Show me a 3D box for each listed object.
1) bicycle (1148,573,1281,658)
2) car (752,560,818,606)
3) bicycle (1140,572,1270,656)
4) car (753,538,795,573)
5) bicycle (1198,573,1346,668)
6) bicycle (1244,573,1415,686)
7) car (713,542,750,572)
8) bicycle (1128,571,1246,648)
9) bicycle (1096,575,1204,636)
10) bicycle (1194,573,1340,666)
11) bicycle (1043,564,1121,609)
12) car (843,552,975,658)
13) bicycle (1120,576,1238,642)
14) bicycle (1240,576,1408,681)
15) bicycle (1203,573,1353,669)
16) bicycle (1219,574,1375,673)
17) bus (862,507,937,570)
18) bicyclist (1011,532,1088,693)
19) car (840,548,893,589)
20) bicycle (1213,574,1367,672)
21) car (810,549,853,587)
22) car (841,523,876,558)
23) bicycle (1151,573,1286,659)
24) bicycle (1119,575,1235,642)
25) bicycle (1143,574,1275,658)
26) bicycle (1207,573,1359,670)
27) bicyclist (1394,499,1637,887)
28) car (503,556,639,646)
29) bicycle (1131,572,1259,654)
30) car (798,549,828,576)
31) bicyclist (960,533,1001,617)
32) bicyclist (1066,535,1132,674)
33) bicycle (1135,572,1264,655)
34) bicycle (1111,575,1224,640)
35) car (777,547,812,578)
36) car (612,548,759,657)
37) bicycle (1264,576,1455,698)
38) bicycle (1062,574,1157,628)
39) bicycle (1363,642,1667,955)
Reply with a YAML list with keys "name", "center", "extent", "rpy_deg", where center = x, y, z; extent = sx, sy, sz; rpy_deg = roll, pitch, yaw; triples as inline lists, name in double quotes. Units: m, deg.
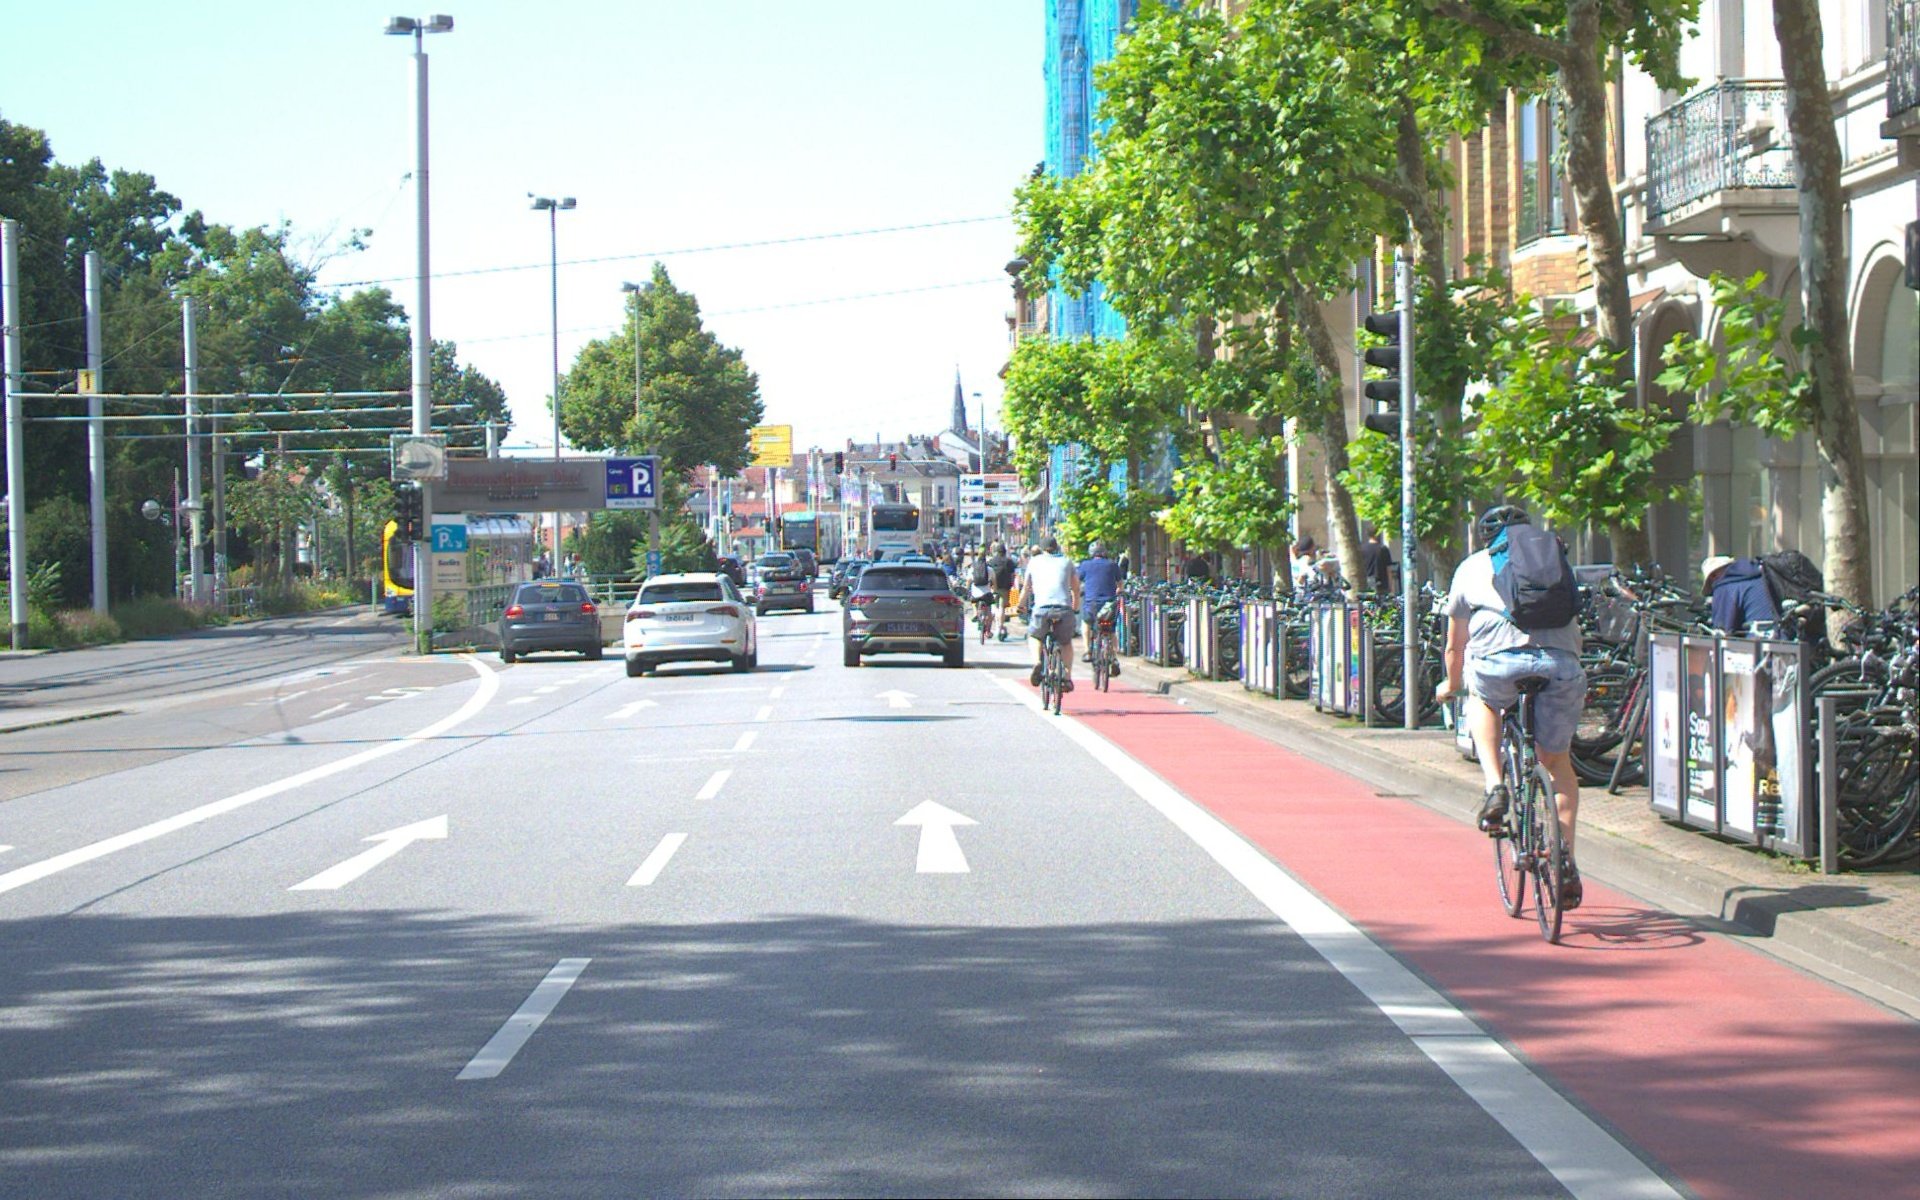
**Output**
- name: "bicycle"
  center: [3.457, 0.206, 46.816]
  extent: [1.752, 1.143, 0.483]
  rpy_deg: [0, 0, -3]
- name: "car"
  center: [-5.316, -0.521, 104.794]
  extent: [1.815, 1.328, 4.000]
  rpy_deg: [1, 1, -1]
- name: "bicycle"
  center: [3.401, 0.195, 47.804]
  extent: [1.752, 1.143, 0.483]
  rpy_deg: [0, 0, -3]
- name: "car"
  center: [-7.218, -1.725, 133.640]
  extent: [1.451, 1.296, 4.000]
  rpy_deg: [1, 1, -1]
- name: "bicycle"
  center: [3.837, 0.248, 42.327]
  extent: [1.752, 1.143, 0.483]
  rpy_deg: [0, 0, -3]
- name: "bicycle"
  center: [3.950, 0.313, 36.782]
  extent: [1.752, 1.183, 0.483]
  rpy_deg: [0, 0, -3]
- name: "car"
  center: [-10.381, -1.957, 156.497]
  extent: [1.451, 1.296, 4.000]
  rpy_deg: [1, 1, -1]
- name: "bicycle"
  center: [3.452, 0.141, 52.316]
  extent: [1.752, 1.143, 0.483]
  rpy_deg: [0, 0, -3]
- name: "bicycle"
  center: [3.173, 0.090, 57.460]
  extent: [1.752, 1.014, 0.483]
  rpy_deg: [0, 0, -3]
- name: "bicycle"
  center: [3.826, 0.242, 42.832]
  extent: [1.752, 1.143, 0.483]
  rpy_deg: [0, 0, -3]
- name: "bicycle"
  center: [2.821, -0.308, 79.432]
  extent: [1.752, 1.014, 0.483]
  rpy_deg: [0, 0, -3]
- name: "car"
  center: [-0.765, 0.047, 51.496]
  extent: [1.873, 1.487, 4.000]
  rpy_deg: [1, 1, -1]
- name: "bicycle"
  center: [3.375, 0.136, 53.014]
  extent: [1.752, 1.014, 0.483]
  rpy_deg: [0, 0, -3]
- name: "bicycle"
  center: [3.950, 0.307, 37.335]
  extent: [1.752, 1.119, 0.483]
  rpy_deg: [0, 0, -3]
- name: "bicycle"
  center: [3.867, 0.254, 41.822]
  extent: [1.752, 1.143, 0.483]
  rpy_deg: [0, 0, -3]
- name: "bicycle"
  center: [3.940, 0.271, 40.203]
  extent: [1.752, 1.143, 0.499]
  rpy_deg: [0, 0, -3]
- name: "bus"
  center: [-2.850, -2.838, 159.889]
  extent: [2.968, 2.767, 8.643]
  rpy_deg: [1, 1, -4]
- name: "bicyclist"
  center: [0.894, 0.116, 34.462]
  extent: [0.688, 1.571, 1.049]
  rpy_deg: [1, 0, -1]
- name: "car"
  center: [-3.037, -1.030, 111.461]
  extent: [1.451, 1.296, 3.342]
  rpy_deg: [1, 1, -6]
- name: "bicycle"
  center: [3.911, 0.264, 40.774]
  extent: [1.752, 1.143, 0.483]
  rpy_deg: [0, 0, -3]
- name: "car"
  center: [-4.614, -1.143, 123.312]
  extent: [1.451, 1.296, 3.342]
  rpy_deg: [1, 1, -4]
- name: "car"
  center: [-6.109, -3.575, 207.058]
  extent: [1.993, 2.007, 4.000]
  rpy_deg: [1, 1, -1]
- name: "bicycle"
  center: [3.479, 0.211, 46.285]
  extent: [1.752, 1.143, 0.483]
  rpy_deg: [0, 0, -3]
- name: "bicycle"
  center: [3.382, 0.129, 53.606]
  extent: [1.752, 1.014, 0.483]
  rpy_deg: [0, 0, -3]
- name: "bicycle"
  center: [3.425, 0.217, 47.305]
  extent: [1.752, 1.143, 0.483]
  rpy_deg: [0, 0, -3]
- name: "bicycle"
  center: [3.879, 0.259, 41.317]
  extent: [1.752, 1.143, 0.483]
  rpy_deg: [0, 0, -3]
- name: "bicyclist"
  center: [2.179, 0.348, 13.615]
  extent: [0.688, 1.458, 1.143]
  rpy_deg: [1, 0, -3]
- name: "car"
  center: [-6.890, -0.007, 61.247]
  extent: [1.993, 1.503, 4.000]
  rpy_deg: [1, 1, -1]
- name: "bicycle"
  center: [3.330, 0.184, 48.797]
  extent: [1.752, 1.143, 0.483]
  rpy_deg: [0, 0, -3]
- name: "car"
  center: [-7.456, -1.898, 174.107]
  extent: [1.451, 1.296, 3.342]
  rpy_deg: [1, 1, -3]
- name: "bicyclist"
  center: [0.389, -0.484, 65.905]
  extent: [0.688, 1.571, 1.049]
  rpy_deg: [1, 0, -3]
- name: "bicyclist"
  center: [1.642, 0.045, 40.636]
  extent: [0.688, 1.611, 0.918]
  rpy_deg: [1, 0, -1]
- name: "bicycle"
  center: [3.361, 0.189, 48.303]
  extent: [1.752, 1.143, 0.483]
  rpy_deg: [0, 0, -3]
- name: "bicycle"
  center: [3.317, 0.116, 55.026]
  extent: [1.752, 1.014, 0.483]
  rpy_deg: [0, 0, -3]
- name: "car"
  center: [-7.255, -1.637, 151.032]
  extent: [1.451, 1.296, 3.342]
  rpy_deg: [1, 1, -2]
- name: "car"
  center: [-3.997, 0.011, 50.590]
  extent: [1.858, 1.502, 4.000]
  rpy_deg: [1, 1, -1]
- name: "bicycle"
  center: [3.830, 0.349, 32.997]
  extent: [1.752, 1.143, 0.483]
  rpy_deg: [0, 0, -3]
- name: "bicycle"
  center: [2.840, 0.010, 65.439]
  extent: [1.752, 1.014, 0.483]
  rpy_deg: [0, 0, -3]
- name: "bicycle"
  center: [2.163, 0.742, 13.685]
  extent: [0.734, 1.089, 2.131]
  rpy_deg: [1, 1, -3]
